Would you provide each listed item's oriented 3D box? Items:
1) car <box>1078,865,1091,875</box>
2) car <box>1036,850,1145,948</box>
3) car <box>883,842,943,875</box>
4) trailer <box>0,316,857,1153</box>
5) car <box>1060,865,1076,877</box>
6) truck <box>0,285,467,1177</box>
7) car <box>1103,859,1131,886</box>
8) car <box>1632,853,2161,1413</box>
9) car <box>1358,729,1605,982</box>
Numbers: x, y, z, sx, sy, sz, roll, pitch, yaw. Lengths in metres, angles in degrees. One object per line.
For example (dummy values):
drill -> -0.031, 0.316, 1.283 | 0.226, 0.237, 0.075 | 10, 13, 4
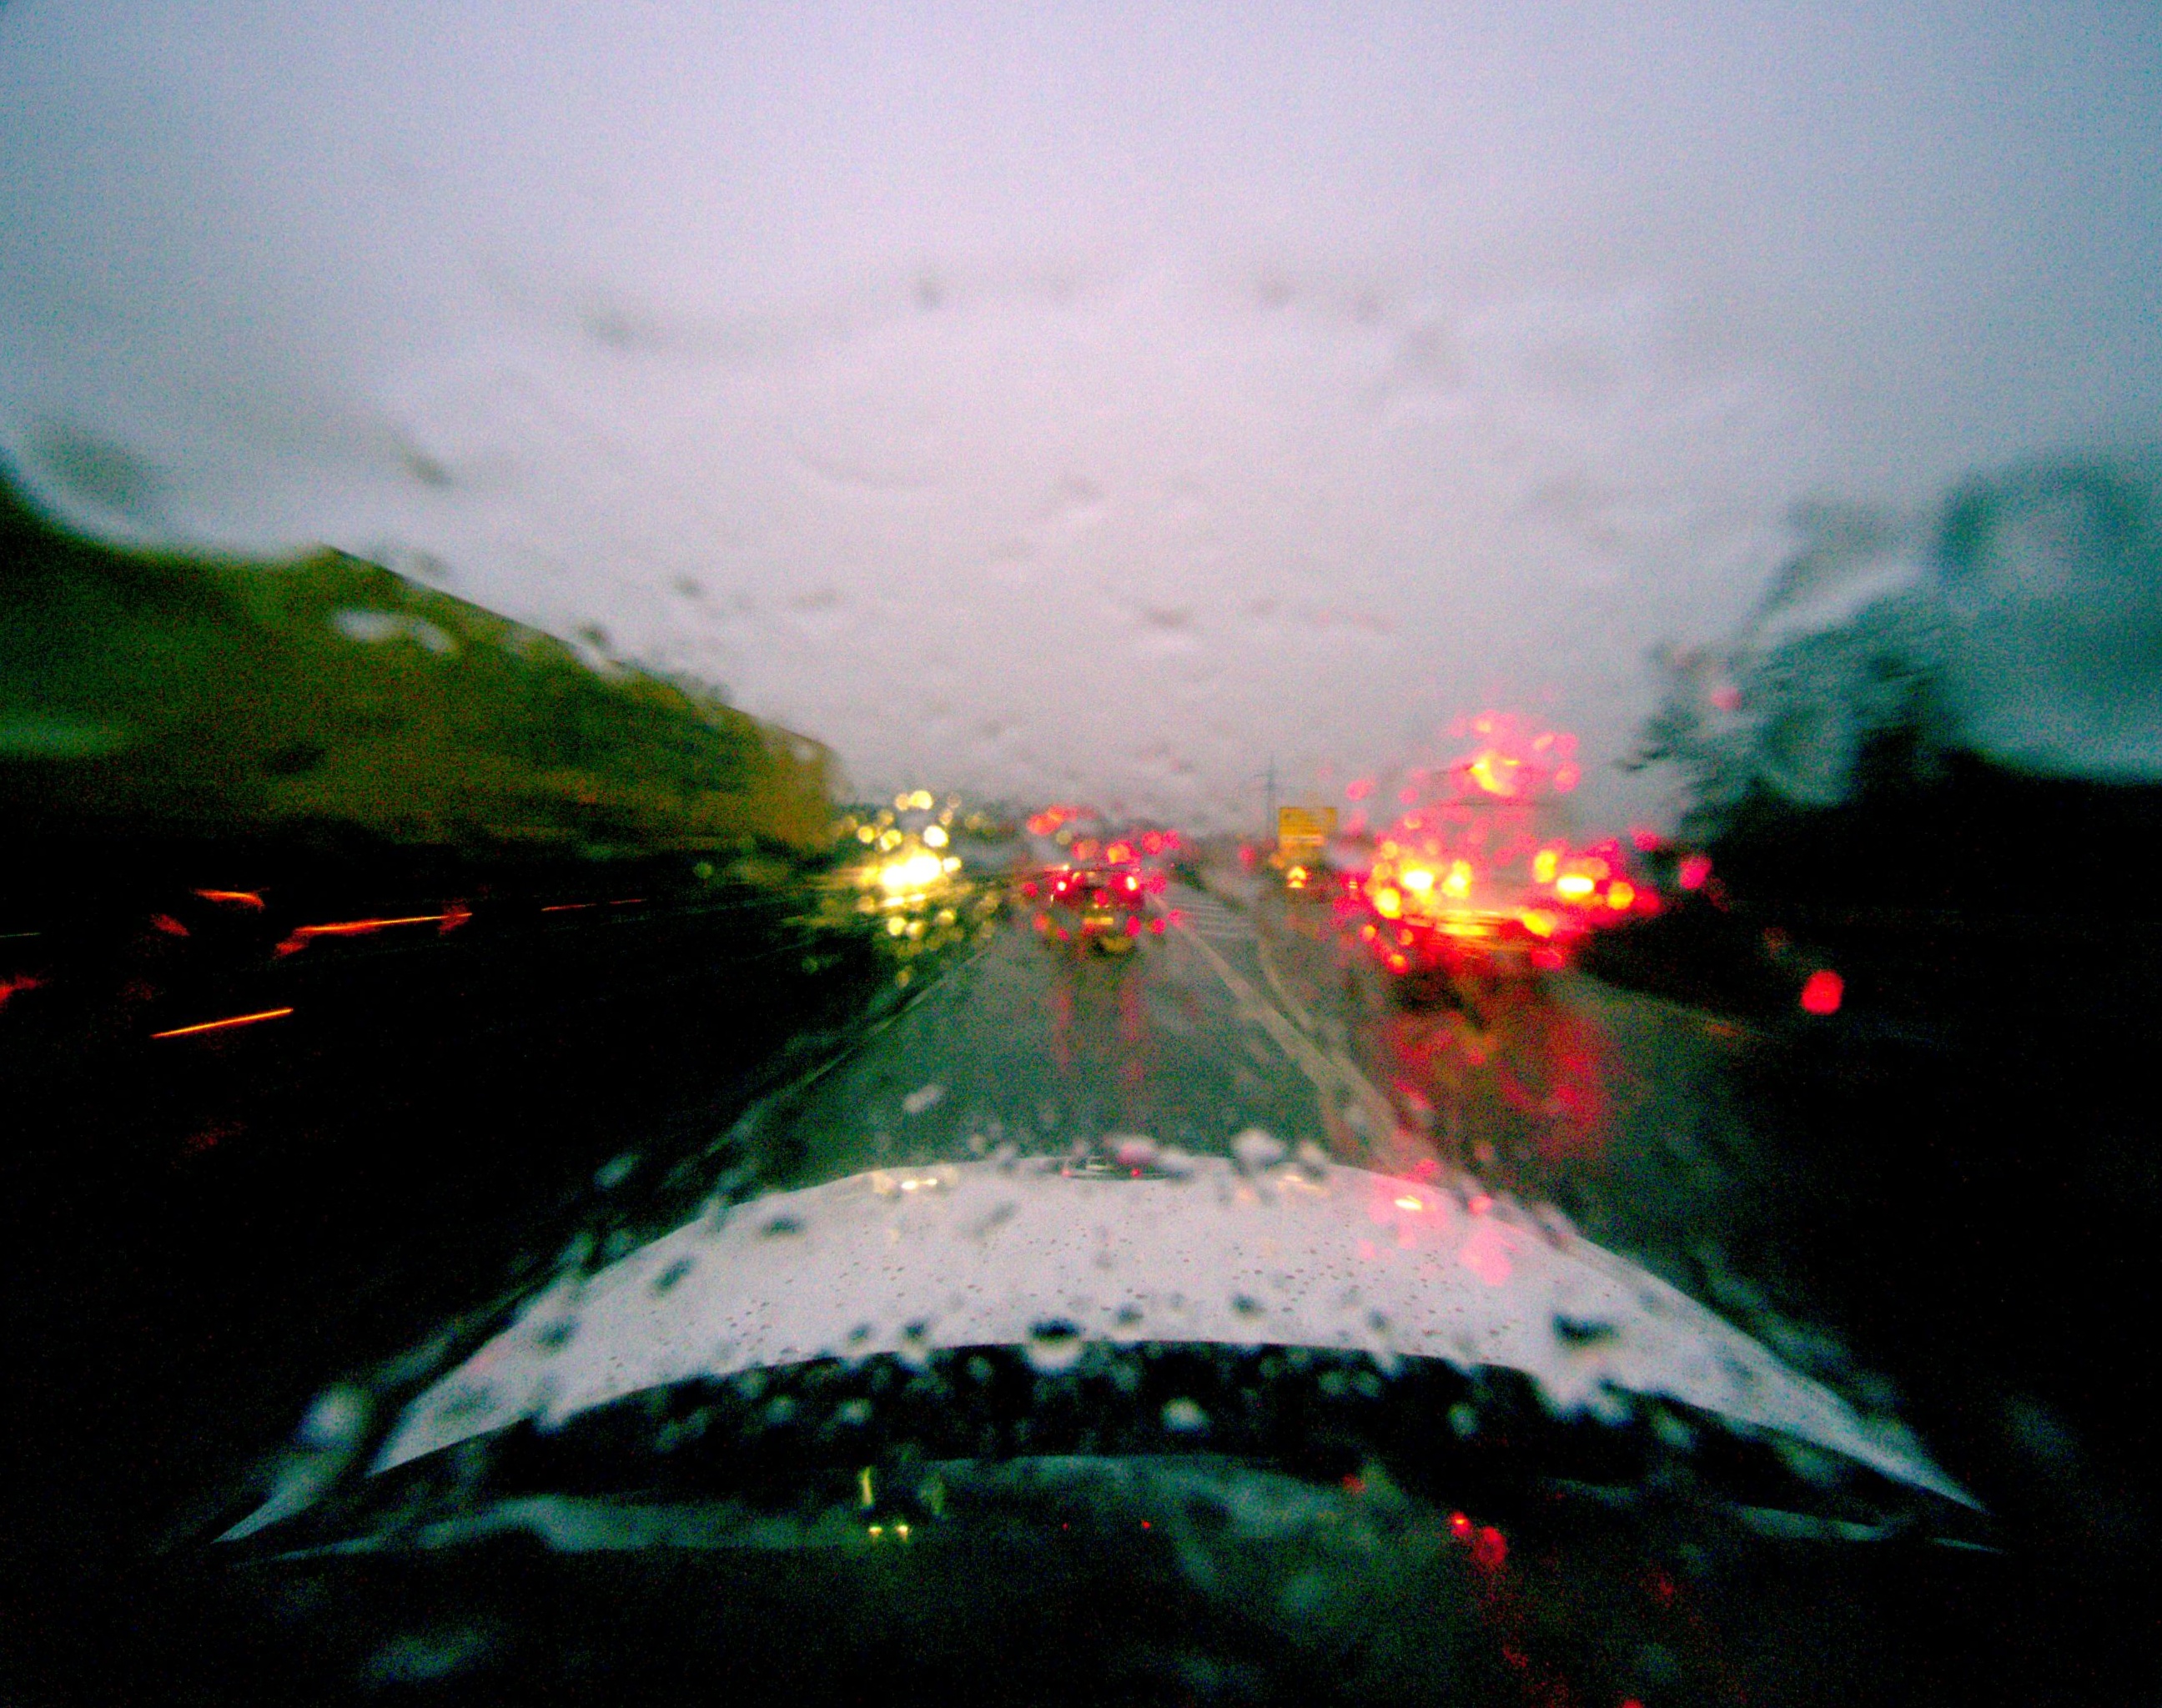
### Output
car -> 0.586, 2.386, 124.535 | 1.639, 1.501, 4.004 | -1, -1, 4
car -> 0.276, 0.763, 15.130 | 1.723, 1.533, 4.046 | -1, -1, 4
car -> -8.746, 0.211, 42.766 | 2.086, 1.593, 4.480 | -1, 1, 1
trailer -> -6.520, -0.594, 11.146 | 2.617, 4.584, 13.332 | -1, -1, 2
car -> -1.687, 2.232, 108.280 | 1.986, 1.472, 4.474 | -1, -1, 1
truck -> -6.835, -0.625, 4.013 | 2.585, 4.580, 6.360 | -1, -1, 2
car -> 2.658, 1.326, 60.875 | 1.986, 1.814, 4.001 | 1, 1, 1
car -> 3.634, 0.734, 2.075 | 1.729, 1.414, 4.382 | 1, 0, 4
car -> 5.834, 0.064, 12.904 | 2.265, 2.966, 6.415 | 0, -1, 15
